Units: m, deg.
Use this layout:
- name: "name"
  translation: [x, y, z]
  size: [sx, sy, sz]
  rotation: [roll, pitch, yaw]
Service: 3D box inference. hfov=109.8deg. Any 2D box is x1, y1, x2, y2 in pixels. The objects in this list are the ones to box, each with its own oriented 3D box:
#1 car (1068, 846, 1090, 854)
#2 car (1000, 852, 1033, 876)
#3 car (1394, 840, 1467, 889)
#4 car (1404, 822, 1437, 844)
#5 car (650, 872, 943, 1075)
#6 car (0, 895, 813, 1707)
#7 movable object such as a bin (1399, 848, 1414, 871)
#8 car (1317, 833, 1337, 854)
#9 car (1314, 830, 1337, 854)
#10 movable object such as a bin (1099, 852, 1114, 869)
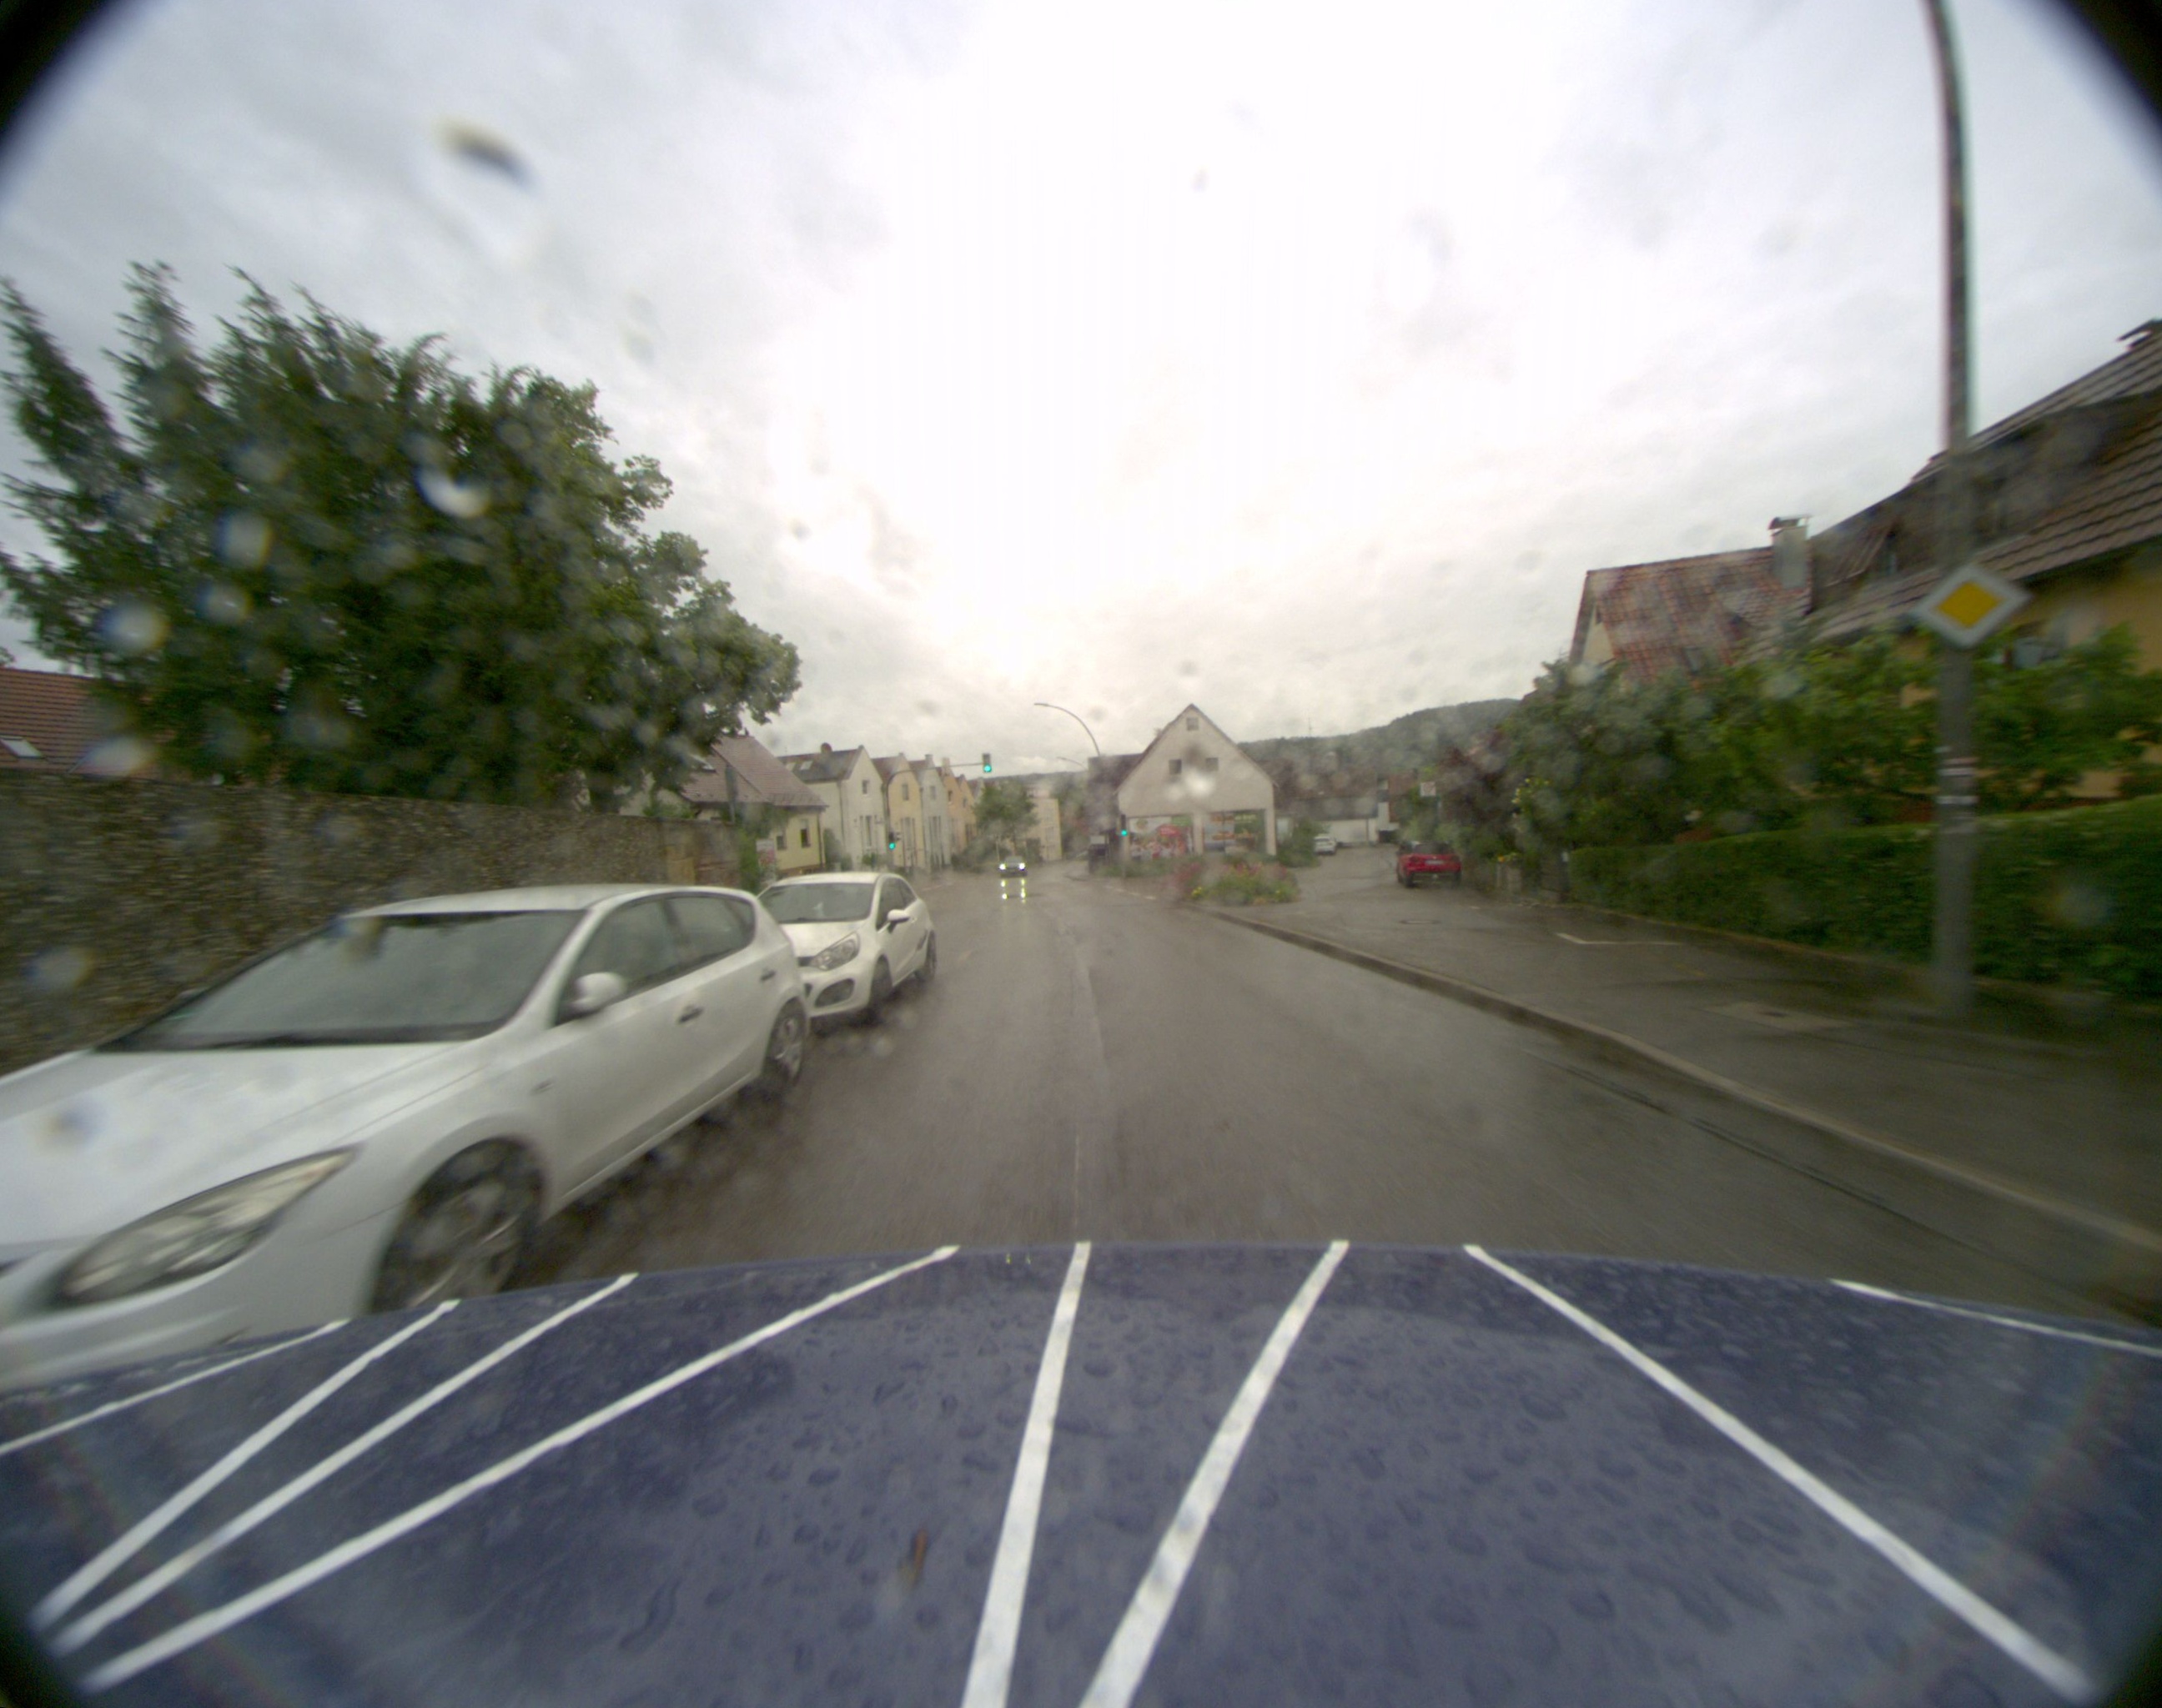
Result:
- name: "car"
  translation: [-0.373, -0.739, 141.885]
  size: [1.875, 1.368, 4.007]
  rotation: [-2, 2, 44]
- name: "car"
  translation: [-4.745, 0.732, 56.277]
  size: [1.998, 1.521, 3.999]
  rotation: [-3, 2, 1]
- name: "car"
  translation: [12.341, 0.328, 27.051]
  size: [1.751, 1.553, 4.023]
  rotation: [-2, 1, 17]
- name: "car"
  translation: [24.866, -1.506, 55.750]
  size: [1.726, 1.484, 3.974]
  rotation: [-2, 1, 17]
- name: "car"
  translation: [-2.737, 1.043, 8.350]
  size: [1.616, 1.472, 4.037]
  rotation: [-3, 1, 0]
- name: "car"
  translation: [-2.834, 1.050, 3.360]
  size: [1.649, 1.453, 4.001]
  rotation: [-4, 0, 2]
- name: "movable object such as a bin"
  translation: [15.590, 0.261, 36.426]
  size: [0.578, 1.040, 0.652]
  rotation: [-2, 1, 21]
- name: "car"
  translation: [18.936, -0.837, 58.547]
  size: [1.415, 1.421, 3.495]
  rotation: [-3, 2, 17]
- name: "car"
  translation: [20.685, -1.032, 64.238]
  size: [1.755, 1.878, 3.745]
  rotation: [-2, 1, 18]
- name: "movable object such as a bin"
  translation: [1.767, 0.442, 52.786]
  size: [0.899, 1.072, 0.651]
  rotation: [-4, 2, 2]
